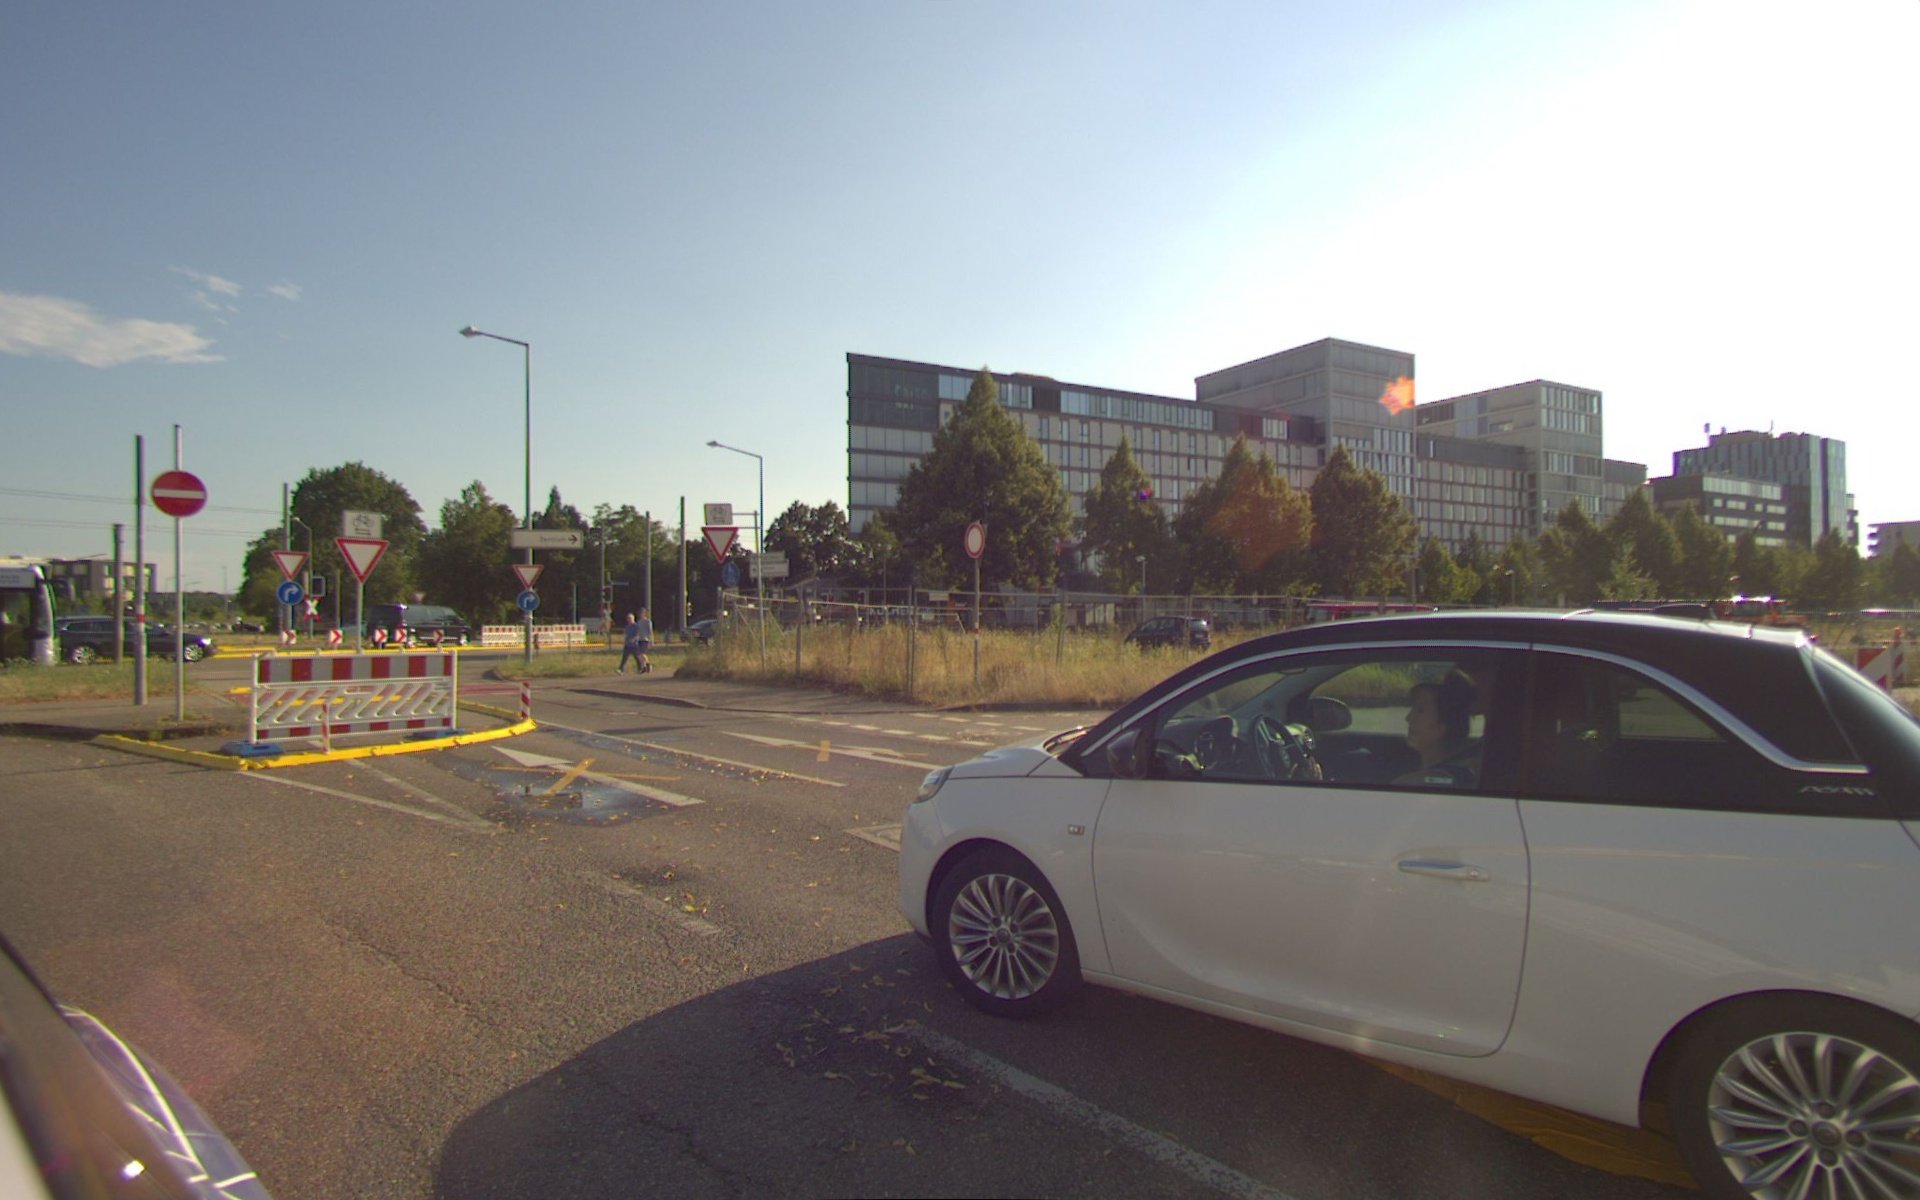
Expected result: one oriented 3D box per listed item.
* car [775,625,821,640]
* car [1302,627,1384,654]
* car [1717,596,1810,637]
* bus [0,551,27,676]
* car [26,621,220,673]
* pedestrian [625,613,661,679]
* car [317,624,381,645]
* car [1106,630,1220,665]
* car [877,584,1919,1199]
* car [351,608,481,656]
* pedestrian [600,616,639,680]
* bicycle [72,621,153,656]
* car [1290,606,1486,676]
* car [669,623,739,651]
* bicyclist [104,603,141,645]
[{"bbox_3d":[-13.493,2.700,84.398,3.443,1.249,1.664,0,-2,-26],"label":"car"},{"bbox_3d":[18.271,1.910,48.240,3.867,1.175,1.336,0,-1,-25],"label":"car"},{"bbox_3d":[51.206,1.049,64.454,5.833,2.459,2.542,0,-1,-29],"label":"car"},{"bbox_3d":[-28.738,0.313,22.266,11.990,3.085,2.670,1,-2,-42],"label":"bus"},{"bbox_3d":[-25.882,1.411,31.444,1.806,1.447,4.338,-1,-1,33],"label":"car"},{"bbox_3d":[-8.663,1.248,27.678,0.750,1.789,0.771,-1,-2,3],"label":"pedestrian"},{"bbox_3d":[-46.412,2.606,76.942,3.961,1.587,1.991,-1,-1,14],"label":"car"},{"bbox_3d":[8.350,1.942,41.910,4.246,1.373,1.971,-2,-2,44],"label":"car"},{"bbox_3d":[1.619,0.705,3.395,3.622,1.432,1.741,-2,-1,40],"label":"car"},{"bbox_3d":[-24.844,1.451,46.462,2.079,2.063,5.209,-1,-1,20],"label":"car"},{"bbox_3d":[-9.415,1.319,28.016,0.776,1.722,0.811,-1,-2,4],"label":"pedestrian"},{"bbox_3d":[-29.324,1.313,35.049,0.818,1.193,2.009,-2,-2,32],"label":"bicycle"},{"bbox_3d":[13.100,1.227,31.111,5.228,2.029,2.004,0,-2,-9],"label":"car"},{"bbox_3d":[-13.864,1.994,55.116,1.824,1.417,4.683,-1,-1,12],"label":"car"},{"bbox_3d":[-29.235,0.820,35.322,0.881,1.395,0.763,1,1,34],"label":"bicyclist"}]
